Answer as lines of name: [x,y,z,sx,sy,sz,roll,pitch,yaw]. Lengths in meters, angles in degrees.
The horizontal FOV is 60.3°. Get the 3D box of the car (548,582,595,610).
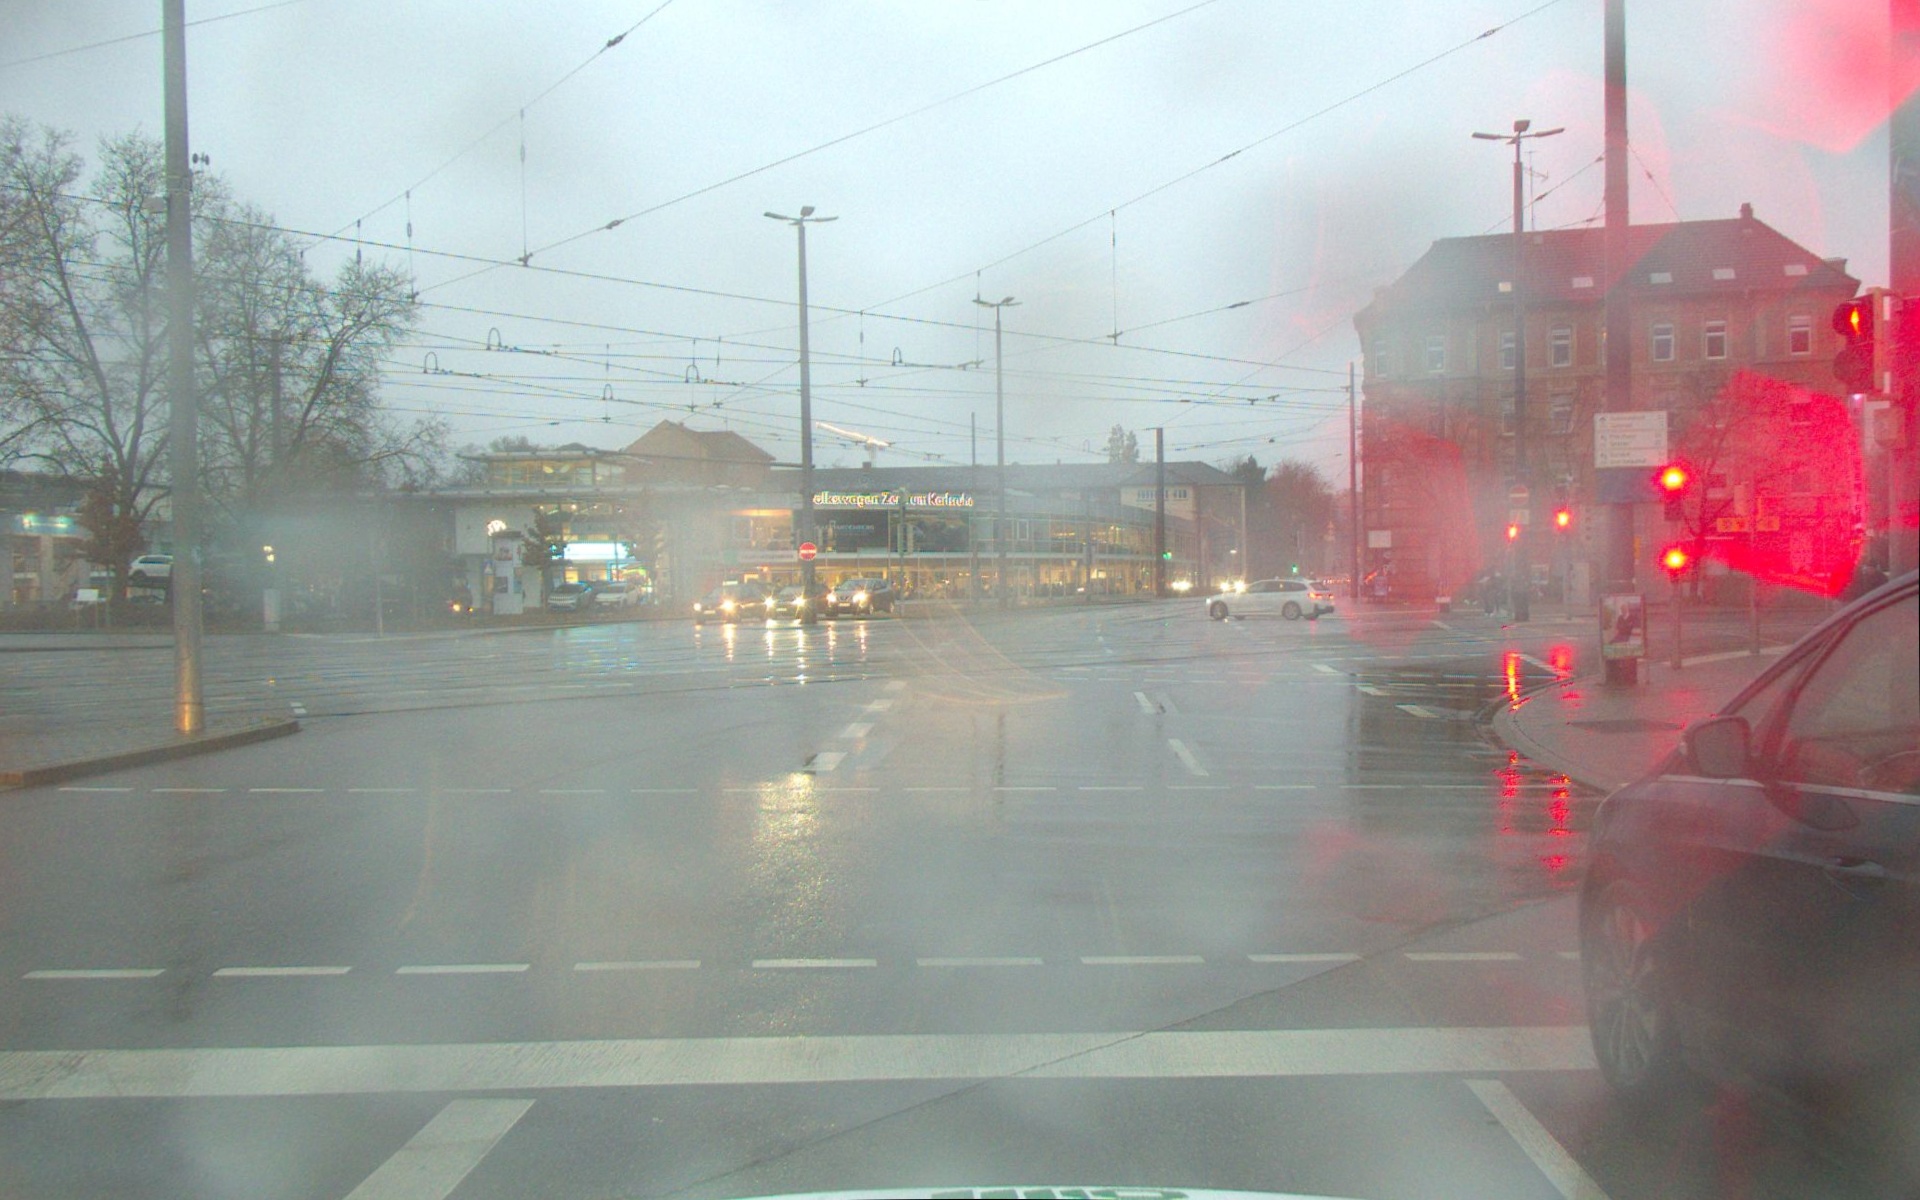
car: [-23.895,-0.244,101.740,1.824,1.629,4.001,-1,0,1]

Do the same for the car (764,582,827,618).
car: [-7.018,-0.007,70.918,1.774,1.472,4.003,-1,0,8]

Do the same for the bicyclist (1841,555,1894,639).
bicyclist: [17.594,-0.068,32.072,0.772,1.603,0.685,-1,0,-43]

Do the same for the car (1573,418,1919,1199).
car: [2.835,0.546,3.215,1.741,1.831,4.425,0,1,1]

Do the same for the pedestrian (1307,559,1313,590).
pedestrian: [23.351,-1.720,110.299,0.336,2.049,0.418,-1,0,15]

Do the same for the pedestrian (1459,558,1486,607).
pedestrian: [21.591,-0.721,69.711,0.721,2.049,0.781,-1,0,-30]

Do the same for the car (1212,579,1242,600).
car: [21.417,-0.821,132.519,1.823,1.629,3.788,-1,0,17]

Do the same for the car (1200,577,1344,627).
car: [10.994,0.070,58.396,4.715,1.686,1.735,-1,0,34]

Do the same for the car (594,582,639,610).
car: [-21.047,-0.263,101.547,1.824,1.629,4.001,-1,0,1]

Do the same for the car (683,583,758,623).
car: [-9.240,0.082,64.217,1.774,1.472,4.003,-1,0,8]

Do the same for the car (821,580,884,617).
car: [-4.437,-0.084,68.719,1.774,1.472,4.003,-1,0,8]

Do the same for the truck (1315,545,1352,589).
truck: [24.438,-2.124,108.154,1.951,2.738,5.118,-1,0,17]

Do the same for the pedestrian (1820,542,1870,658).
pedestrian: [15.383,0.003,28.736,0.664,1.984,0.674,-1,0,36]

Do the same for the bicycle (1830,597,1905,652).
bicycle: [17.593,0.461,32.038,1.998,0.998,0.684,-1,0,-43]

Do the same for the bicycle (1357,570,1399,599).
bicycle: [20.658,-0.741,81.777,0.688,1.400,2.185,-1,0,-30]

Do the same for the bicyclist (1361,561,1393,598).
bicyclist: [20.589,-1.031,81.699,1.036,1.799,1.061,-1,0,-31]
